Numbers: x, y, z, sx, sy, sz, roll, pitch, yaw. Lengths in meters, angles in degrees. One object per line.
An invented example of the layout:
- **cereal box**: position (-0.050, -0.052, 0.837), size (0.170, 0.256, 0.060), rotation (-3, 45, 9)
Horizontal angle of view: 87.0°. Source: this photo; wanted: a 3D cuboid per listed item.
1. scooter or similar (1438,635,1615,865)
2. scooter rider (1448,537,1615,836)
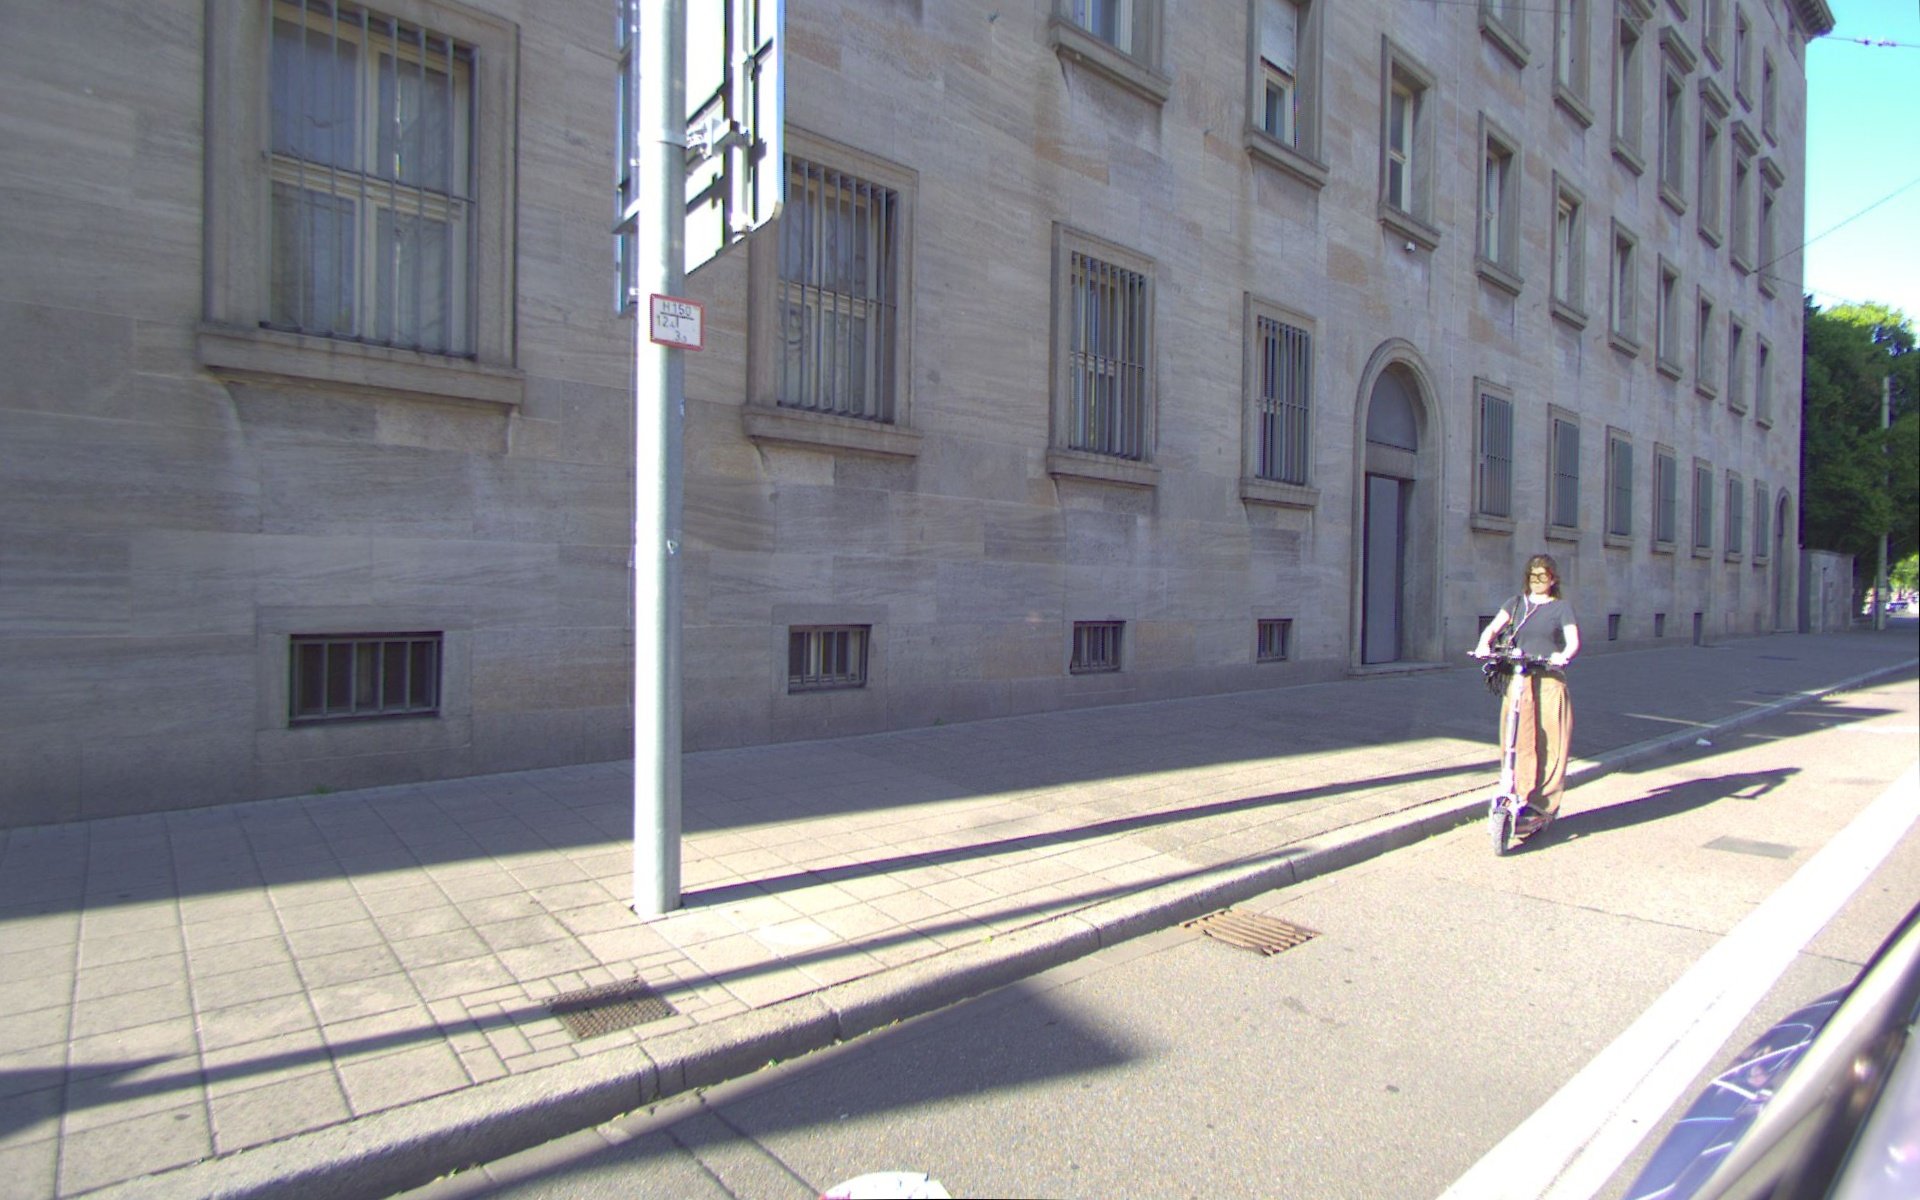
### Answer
- **scooter or similar**: position (3.480, 0.845, 6.179), size (1.305, 1.200, 0.535), rotation (0, 1, -42)
- **scooter rider**: position (3.486, 0.481, 6.189), size (0.547, 1.692, 0.730), rotation (0, 1, -41)
